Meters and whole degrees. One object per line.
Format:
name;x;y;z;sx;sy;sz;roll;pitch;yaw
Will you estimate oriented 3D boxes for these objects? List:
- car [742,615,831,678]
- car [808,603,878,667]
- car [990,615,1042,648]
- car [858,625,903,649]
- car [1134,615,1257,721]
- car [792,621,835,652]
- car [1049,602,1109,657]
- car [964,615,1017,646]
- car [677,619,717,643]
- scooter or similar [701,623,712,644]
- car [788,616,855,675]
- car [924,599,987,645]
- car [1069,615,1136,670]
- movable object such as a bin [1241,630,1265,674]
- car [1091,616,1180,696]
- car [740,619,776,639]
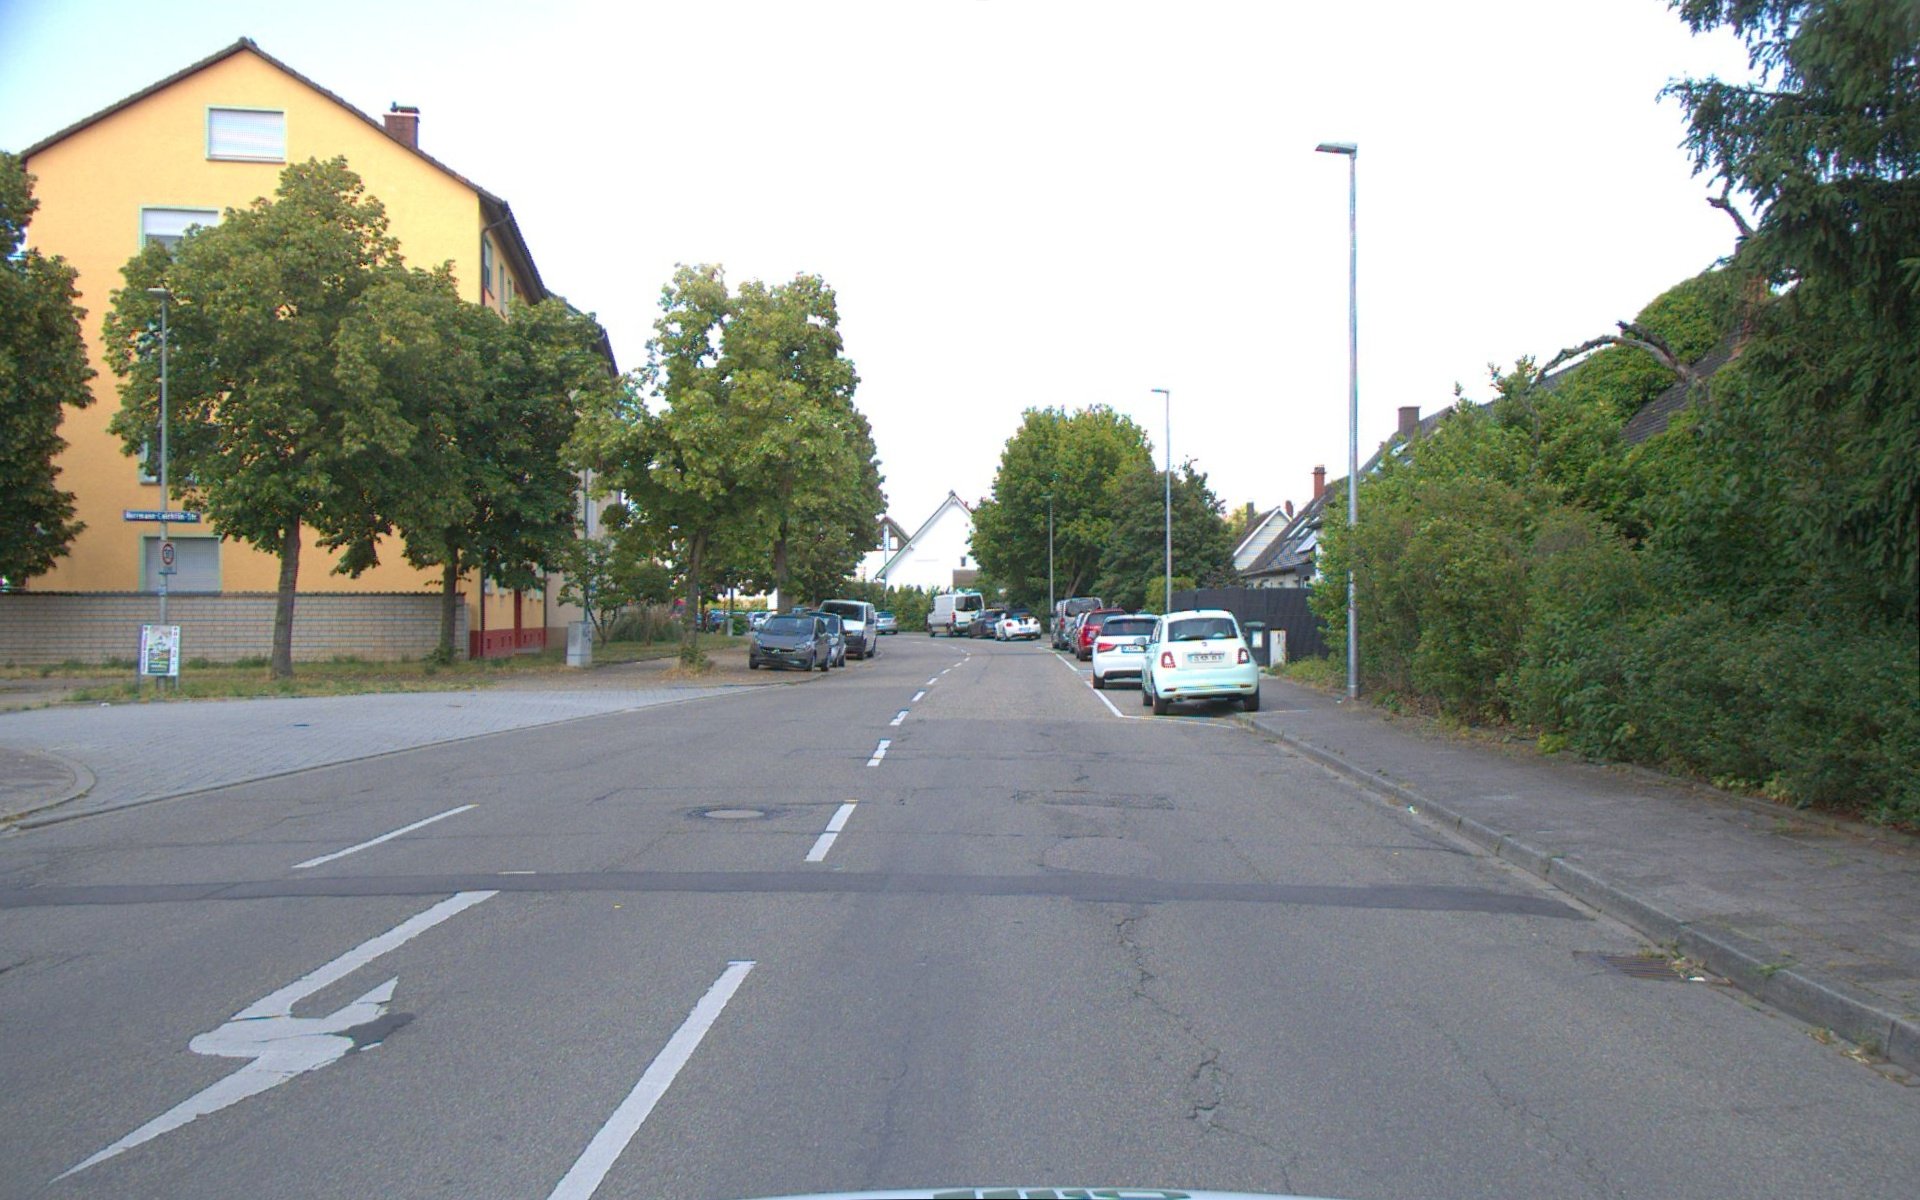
car;-4.538;1.252;43.784;1.648;1.512;3.985;3;-2;3
car;-4.056;1.178;57.969;1.840;2.044;5.323;2;0;2
car;2.679;1.498;80.183;1.708;1.539;4.449;0;-1;-9
car;-5.210;2.402;107.647;1.712;1.483;4.337;0;-1;-21
car;3.647;1.018;26.119;1.548;1.547;3.756;0;-1;2
car;-7.575;1.873;85.145;1.803;1.464;4.081;2;-1;-10
car;4.545;1.119;63.836;1.805;1.978;4.874;-2;-1;-1
car;1.586;1.591;87.369;1.689;1.613;4.107;0;-1;-15
car;-18.487;2.170;115.975;1.762;1.483;4.405;5;-3;-22
scooter or similar;-14.862;1.969;96.889;0.413;1.186;1.134;2;-1;-19
car;-4.153;1.343;49.954;1.486;1.576;3.756;5;0;1
car;-0.304;1.235;93.785;2.083;2.484;5.869;0;-1;-16
car;4.338;1.265;50.940;1.811;1.607;4.733;0;-1;2
movable object such as a bin;7.137;1.256;40.317;0.505;1.057;0.630;0;-1;2
car;3.519;1.086;33.379;1.685;1.512;3.751;0;-1;5
car;-16.287;2.327;133.453;1.772;1.550;3.941;0;-1;-25
